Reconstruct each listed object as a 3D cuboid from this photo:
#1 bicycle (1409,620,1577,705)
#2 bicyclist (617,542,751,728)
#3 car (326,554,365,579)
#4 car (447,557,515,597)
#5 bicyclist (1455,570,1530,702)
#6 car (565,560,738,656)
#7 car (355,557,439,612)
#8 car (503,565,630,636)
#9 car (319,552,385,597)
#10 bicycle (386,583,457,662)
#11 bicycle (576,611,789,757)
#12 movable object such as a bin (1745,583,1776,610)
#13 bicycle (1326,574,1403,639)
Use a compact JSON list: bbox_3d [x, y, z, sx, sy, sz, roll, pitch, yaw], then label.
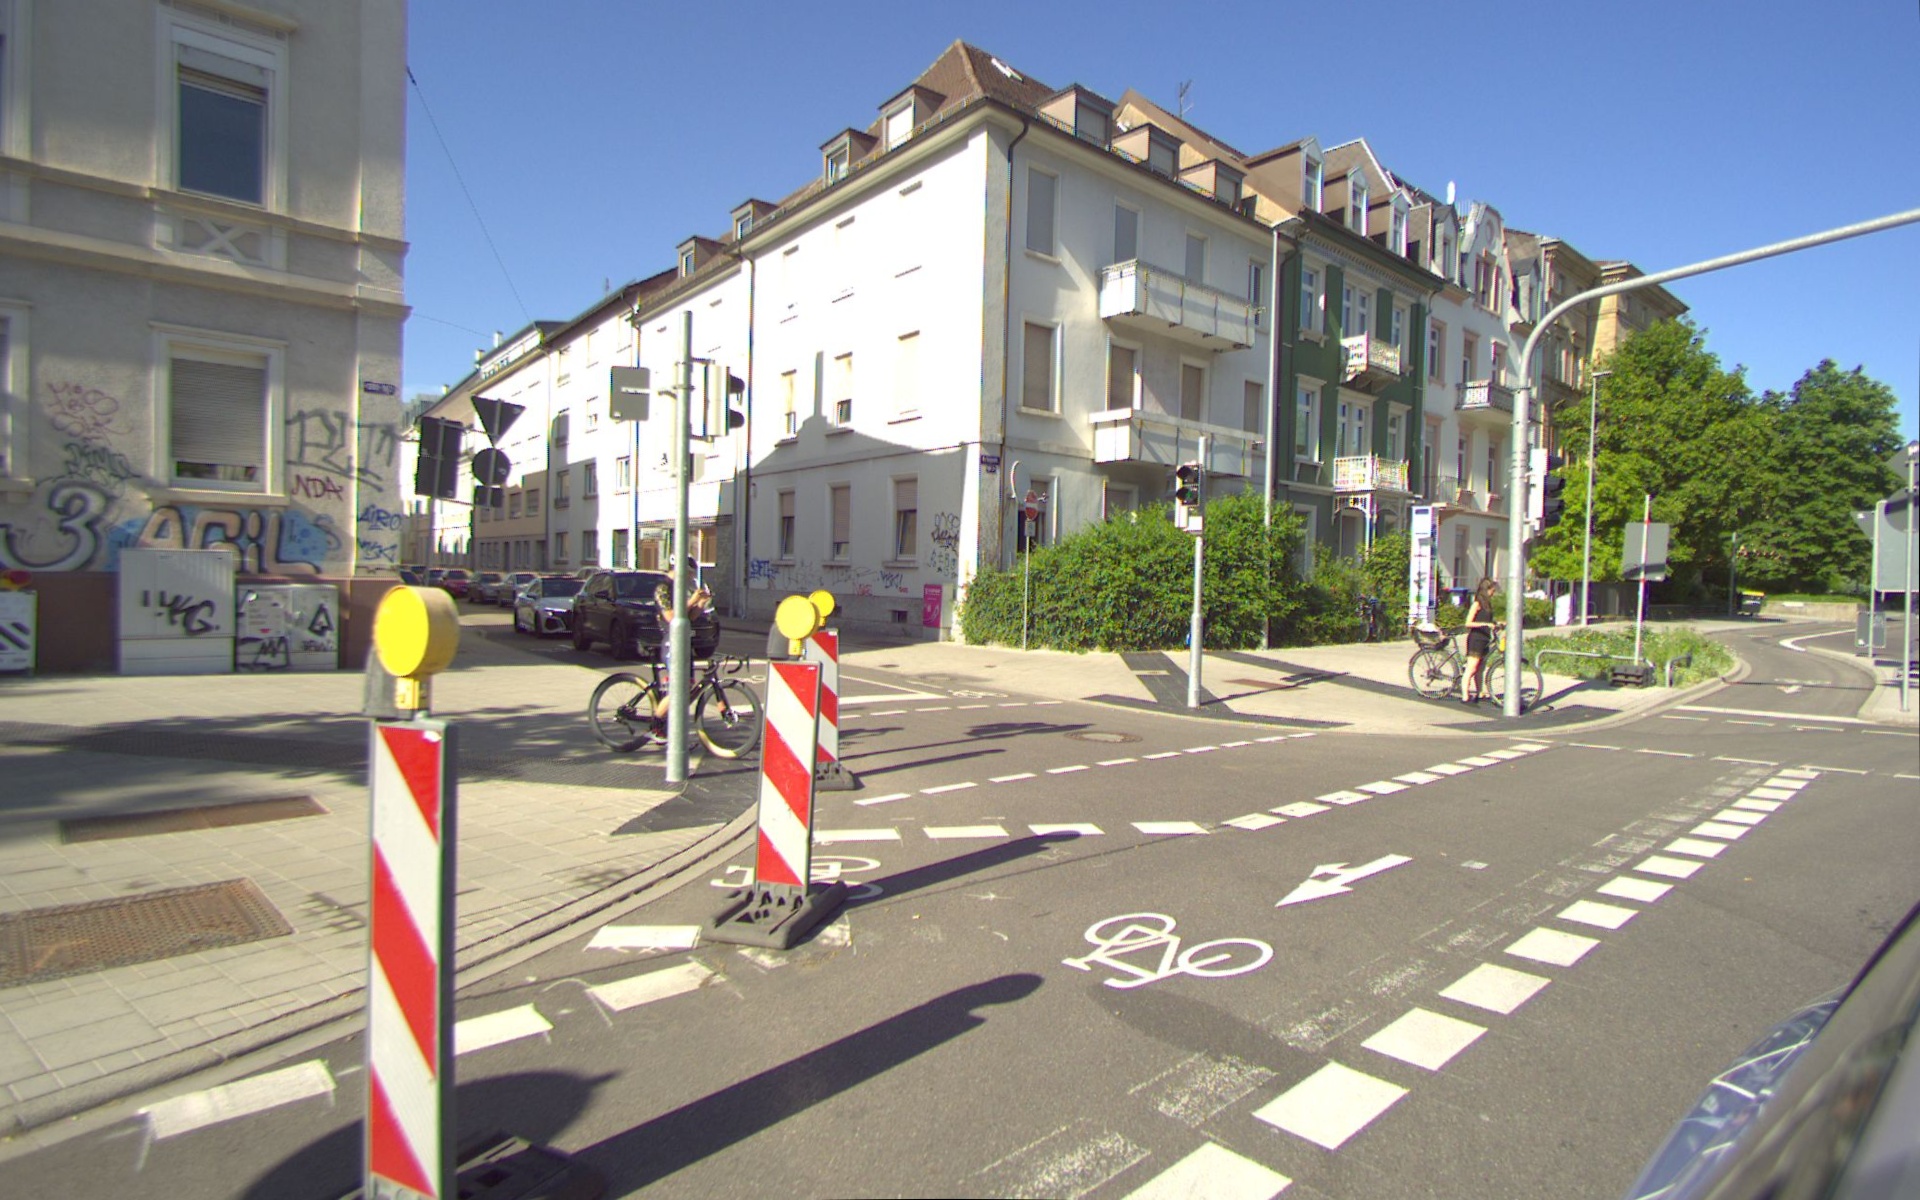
[{"bbox_3d":[7.259,0.816,13.874,0.594,1.038,1.965,1,0,-41],"label":"bicycle"},{"bbox_3d":[-2.376,0.272,8.761,0.859,1.518,0.722,1,1,15],"label":"bicyclist"},{"bbox_3d":[-43.154,-2.351,71.025,1.963,1.735,4.000,0,1,-36],"label":"car"},{"bbox_3d":[-22.021,-1.057,46.432,1.964,1.734,3.997,0,2,-39],"label":"car"},{"bbox_3d":[7.263,0.463,13.794,0.843,1.730,0.604,1,1,-42],"label":"bicyclist"},{"bbox_3d":[-6.083,0.082,19.651,1.948,1.639,4.263,0,1,-36],"label":"car"},{"bbox_3d":[-18.815,-0.537,33.764,1.963,1.735,4.000,0,1,-36],"label":"car"},{"bbox_3d":[-9.774,-0.048,24.943,1.962,1.584,4.125,0,1,-36],"label":"car"},{"bbox_3d":[-25.003,-1.054,41.533,1.963,1.735,4.000,0,1,-36],"label":"car"},{"bbox_3d":[-8.202,0.303,15.365,0.569,1.093,2.001,0,1,-39],"label":"bicycle"},{"bbox_3d":[-2.396,0.690,8.772,1.663,1.111,0.687,2,1,16],"label":"bicycle"},{"bbox_3d":[43.775,-0.214,55.332,0.964,1.415,1.276,4,2,25],"label":"movable object such as a bin"},{"bbox_3d":[9.564,0.148,23.855,2.449,1.462,0.709,1,0,-43],"label":"bicycle"}]
